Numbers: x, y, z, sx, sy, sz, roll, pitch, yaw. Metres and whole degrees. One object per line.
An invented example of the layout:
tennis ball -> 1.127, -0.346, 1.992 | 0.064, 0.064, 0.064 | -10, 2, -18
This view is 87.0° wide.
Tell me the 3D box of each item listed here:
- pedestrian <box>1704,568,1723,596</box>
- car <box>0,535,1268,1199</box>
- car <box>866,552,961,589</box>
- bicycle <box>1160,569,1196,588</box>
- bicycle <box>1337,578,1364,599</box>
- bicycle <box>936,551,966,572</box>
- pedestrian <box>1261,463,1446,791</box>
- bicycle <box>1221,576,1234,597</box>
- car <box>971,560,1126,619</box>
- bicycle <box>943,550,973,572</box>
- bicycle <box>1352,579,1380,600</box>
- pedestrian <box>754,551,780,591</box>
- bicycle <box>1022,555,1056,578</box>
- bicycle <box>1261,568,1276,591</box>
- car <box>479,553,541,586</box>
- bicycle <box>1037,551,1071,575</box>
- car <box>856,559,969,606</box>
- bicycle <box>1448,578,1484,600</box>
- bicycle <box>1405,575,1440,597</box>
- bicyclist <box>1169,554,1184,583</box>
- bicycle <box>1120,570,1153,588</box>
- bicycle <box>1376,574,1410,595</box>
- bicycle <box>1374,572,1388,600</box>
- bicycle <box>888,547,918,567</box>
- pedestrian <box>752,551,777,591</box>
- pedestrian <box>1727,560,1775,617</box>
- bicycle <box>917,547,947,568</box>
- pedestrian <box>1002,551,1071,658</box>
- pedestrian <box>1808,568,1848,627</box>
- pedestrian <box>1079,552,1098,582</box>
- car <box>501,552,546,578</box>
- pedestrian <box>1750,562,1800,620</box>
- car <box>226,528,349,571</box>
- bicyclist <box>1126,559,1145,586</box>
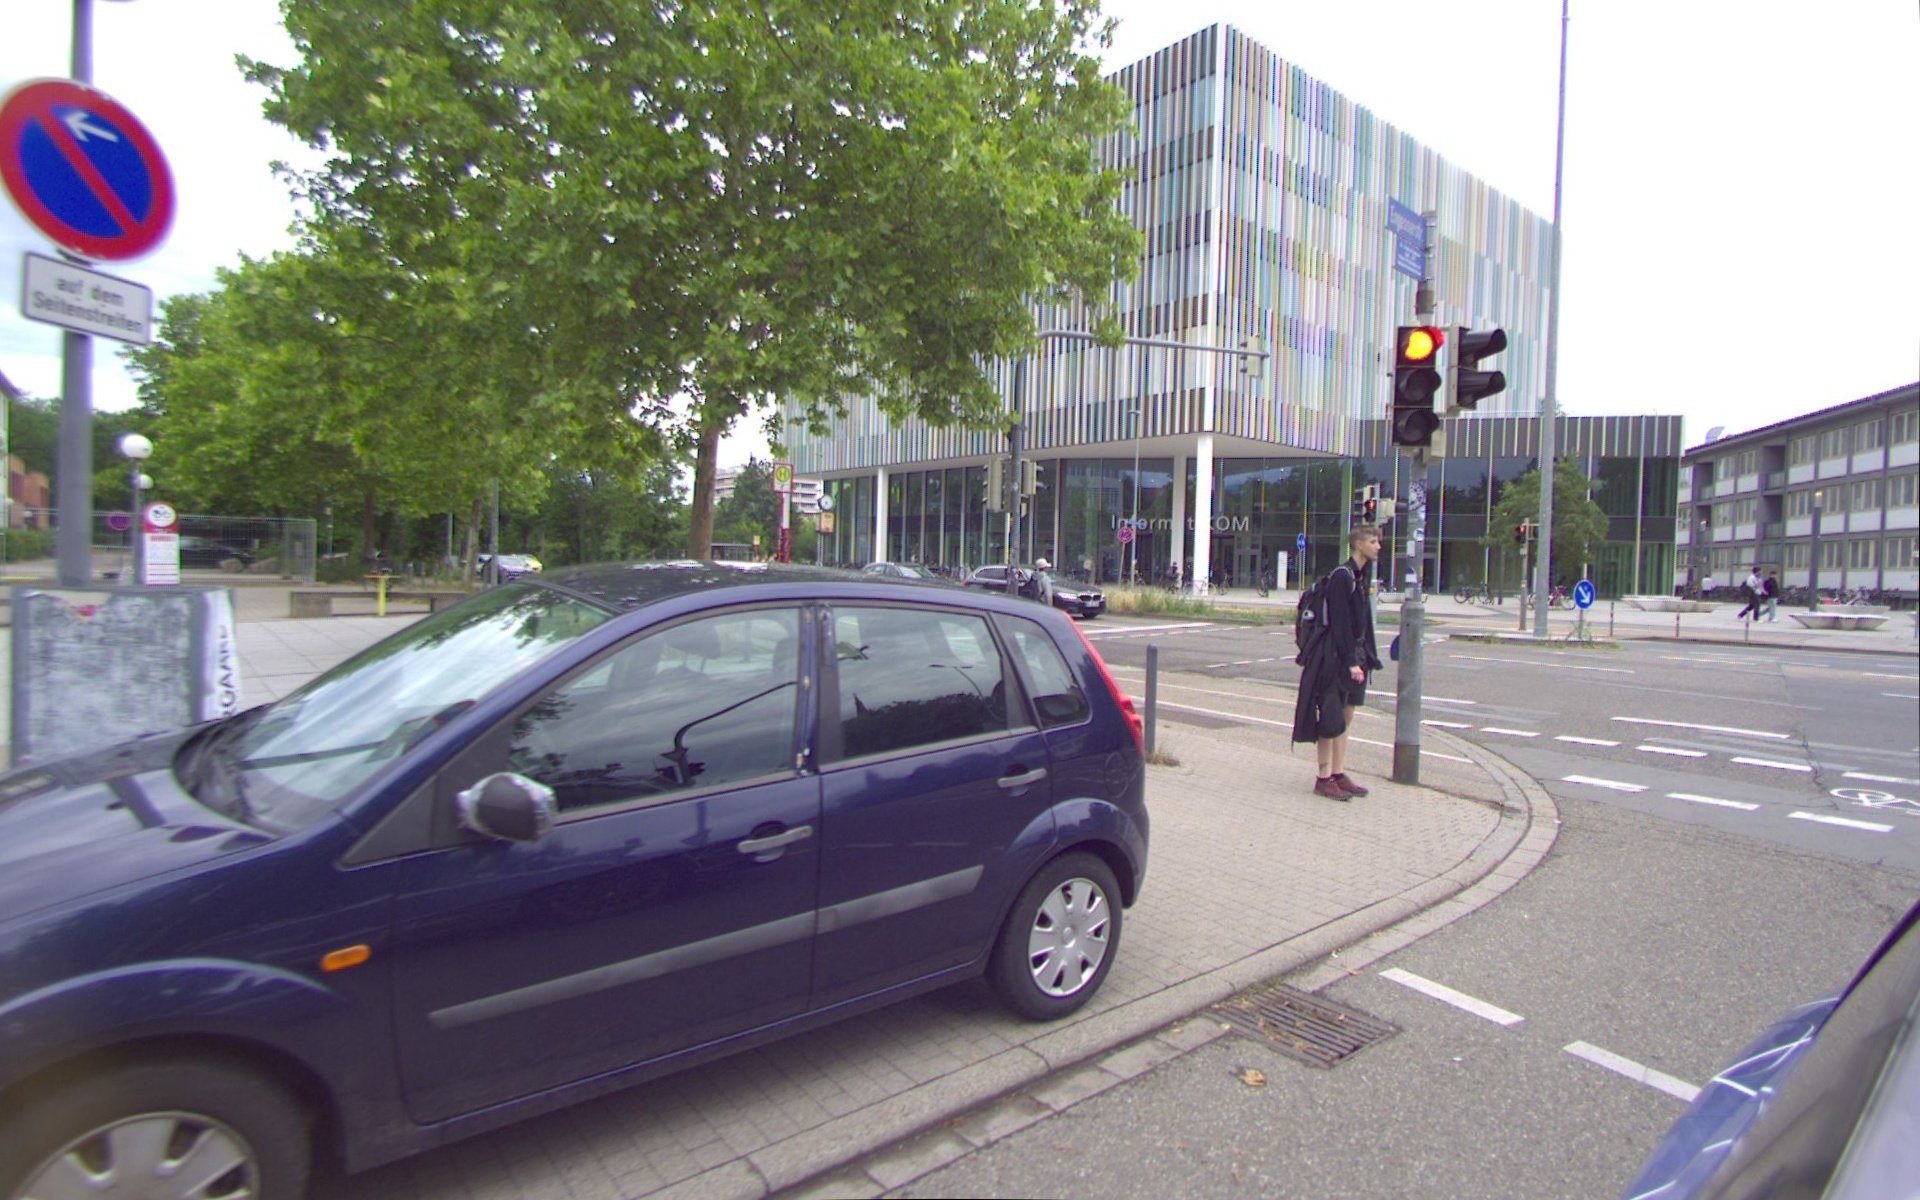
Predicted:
pedestrian -> 49.921, -1.215, 67.055 | 0.765, 1.811, 0.758 | 2, 2, 17
car -> -0.943, 0.626, 3.181 | 4.032, 1.519, 1.627 | -1, 5, -39
car -> -2.144, -1.332, 45.607 | 1.966, 1.486, 4.218 | 3, 0, -44
bicycle -> 11.221, -1.106, 52.081 | 1.876, 0.937, 0.485 | 0, 2, -22
bicycle -> 18.867, -0.568, 48.910 | 0.475, 0.947, 2.010 | 1, 2, 0
bicycle -> -0.570, -2.556, 66.930 | 2.067, 1.275, 0.627 | 3, -1, -42
pedestrian -> 2.526, 0.154, 6.571 | 0.742, 1.976, 0.795 | 1, 1, -15
bicycle -> 13.960, -0.725, 52.877 | 0.476, 1.058, 1.910 | 1, 2, 11
car -> 2.426, -0.351, 28.641 | 1.965, 1.507, 4.288 | -2, 3, -39
bicycle -> -0.110, -2.538, 66.449 | 2.067, 1.275, 0.627 | 3, -1, -42
bicycle -> 19.590, -0.536, 48.834 | 0.538, 0.947, 2.010 | 1, 2, 0
pedestrian -> -8.749, -1.314, 45.801 | 0.886, 1.810, 0.709 | 2, 1, 27
bicycle -> 4.719, -2.002, 60.549 | 2.064, 1.275, 0.628 | 3, -1, -35
bicycle -> 15.242, -1.020, 50.064 | 0.476, 1.058, 1.911 | 1, 3, 11
car -> -22.351, -1.531, 50.180 | 1.963, 1.530, 4.000 | 0, 2, -37
bicycle -> 5.518, -2.185, 59.403 | 2.064, 1.275, 0.628 | 3, -1, -35
car -> -1.674, -0.624, 34.339 | 1.963, 1.471, 3.999 | -1, 2, -37
bicycle -> 24.083, -0.542, 48.186 | 0.474, 0.947, 2.014 | 1, 3, -8
bicycle -> 21.951, -0.682, 48.104 | 0.474, 0.947, 2.014 | 1, 3, -8
bicyclist -> 11.131, -1.615, 52.029 | 0.593, 1.487, 0.485 | 1, 1, -22
bicycle -> 9.302, -1.113, 53.474 | 0.607, 0.937, 1.919 | 0, 2, -30
bicycle -> 20.634, -0.741, 48.232 | 0.474, 0.947, 2.014 | 1, 3, -8
bicycle -> 17.324, -0.591, 41.659 | 0.478, 1.058, 1.771 | 2, 3, 21
bicycle -> -3.961, -2.964, 70.300 | 2.067, 1.275, 0.627 | 3, -1, -42
pedestrian -> -9.035, -1.347, 46.817 | 0.886, 1.810, 0.709 | 2, 1, 27
pedestrian -> 25.716, -0.398, 32.911 | 0.832, 1.810, 0.893 | 1, 1, 8
bicycle -> -1.912, -2.883, 68.557 | 2.067, 1.275, 0.627 | 3, -1, -42
pedestrian -> 1.229, 0.078, 16.317 | 0.777, 1.648, 0.759 | 3, -2, -26
pedestrian -> 25.660, -0.079, 29.924 | 0.608, 1.687, 0.623 | 1, 1, 6
pedestrian -> 7.749, -1.979, 61.045 | 0.787, 1.810, 0.762 | 0, 3, -38
car -> -29.728, -2.400, 68.863 | 1.963, 1.638, 4.194 | 0, 2, -37
pedestrian -> 26.373, -0.297, 32.761 | 0.832, 1.810, 0.893 | 2, 2, 8
car -> -29.051, -2.159, 43.824 | 1.986, 1.774, 4.018 | 3, 3, 33
bicyclist -> 9.279, -1.447, 53.499 | 0.607, 1.399, 0.719 | 0, 2, -30
